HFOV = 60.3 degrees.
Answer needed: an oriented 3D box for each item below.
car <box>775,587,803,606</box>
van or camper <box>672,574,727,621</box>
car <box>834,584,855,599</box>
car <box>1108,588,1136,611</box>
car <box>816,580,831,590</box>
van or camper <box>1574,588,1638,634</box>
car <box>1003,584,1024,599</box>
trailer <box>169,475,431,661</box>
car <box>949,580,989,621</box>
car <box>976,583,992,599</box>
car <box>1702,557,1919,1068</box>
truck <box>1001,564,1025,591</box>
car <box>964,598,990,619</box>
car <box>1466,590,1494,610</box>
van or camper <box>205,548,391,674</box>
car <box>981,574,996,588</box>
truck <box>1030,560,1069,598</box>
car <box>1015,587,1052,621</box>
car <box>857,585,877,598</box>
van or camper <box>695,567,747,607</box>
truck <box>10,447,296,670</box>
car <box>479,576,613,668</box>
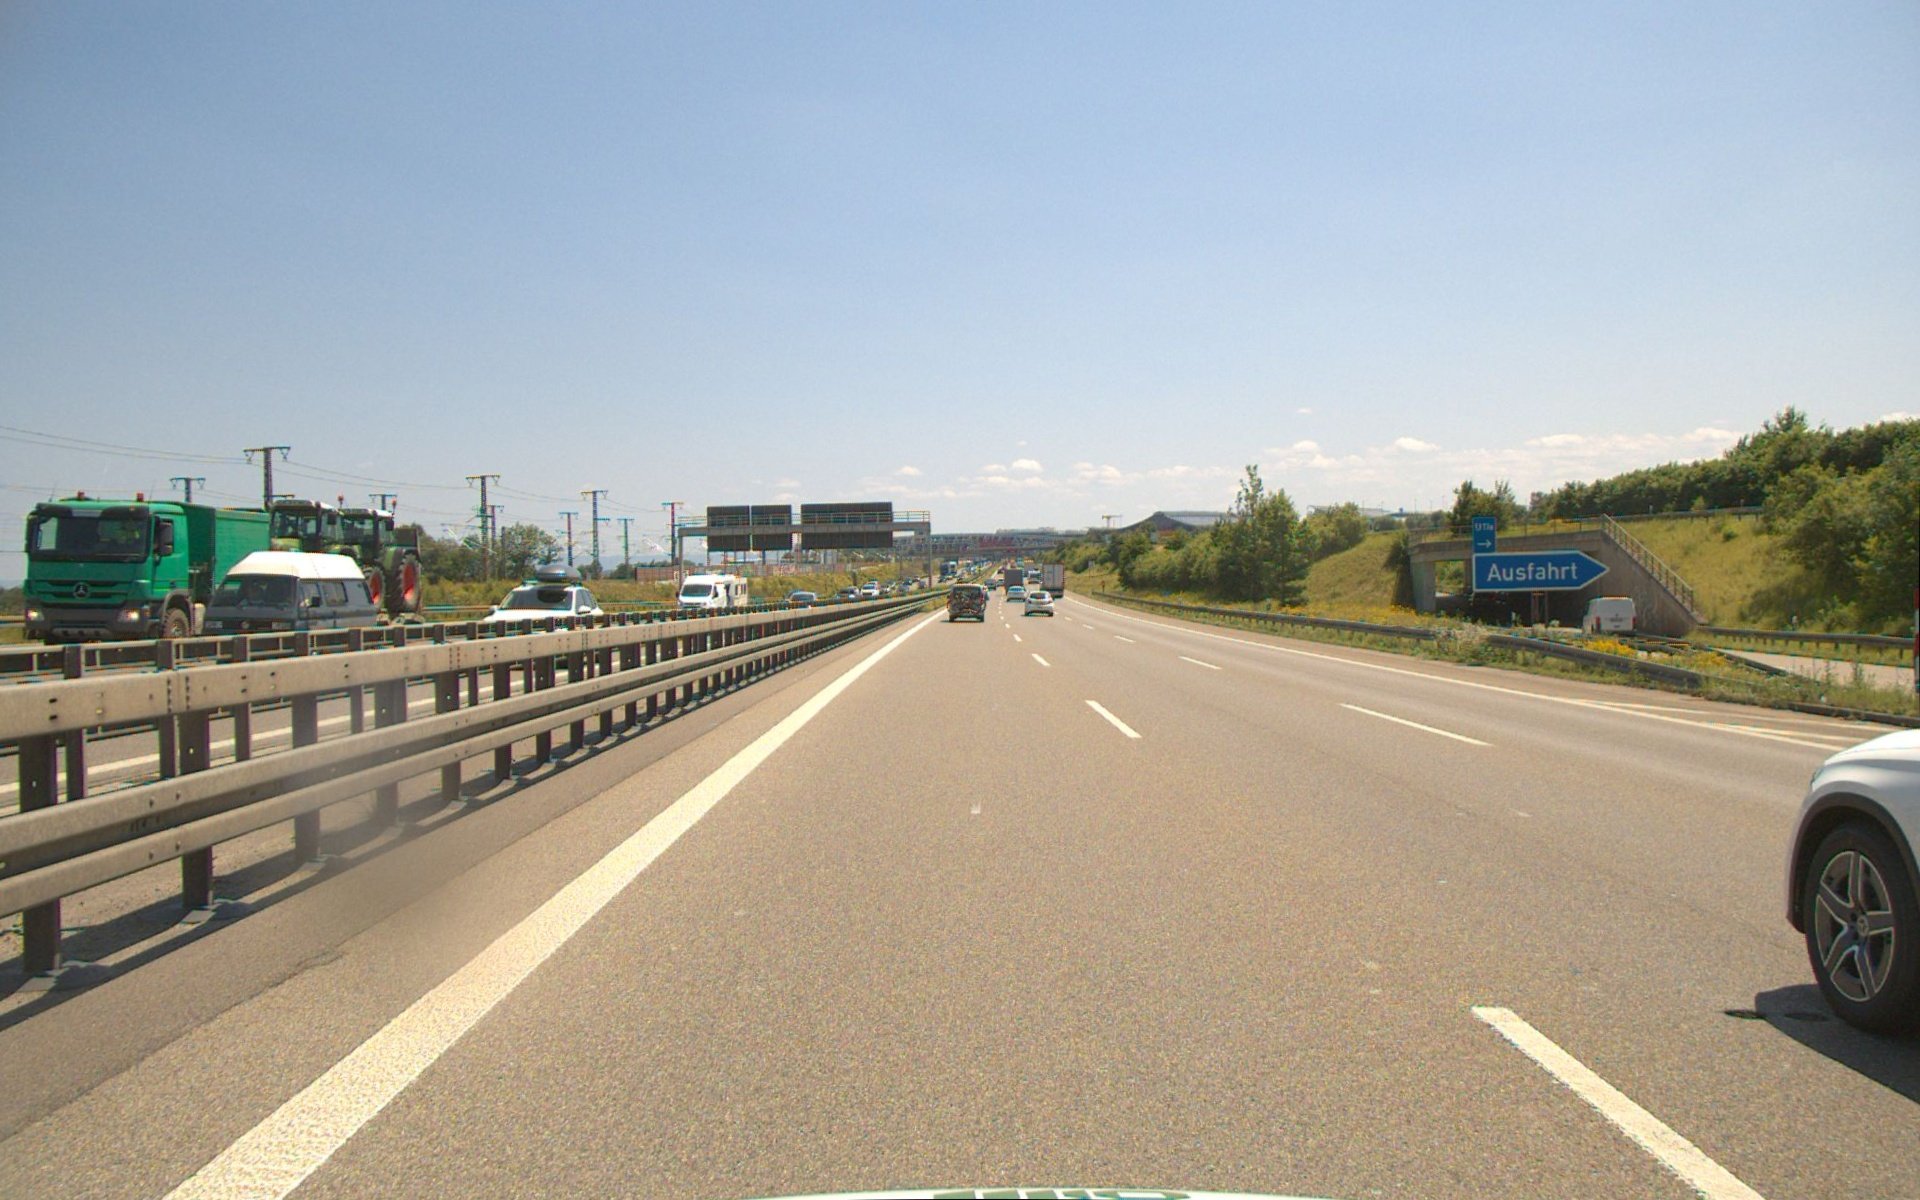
[{"bbox_3d":[-12.833,-0.278,124.307,1.658,1.370,4.000,0,0,0],"label":"car"},{"bbox_3d":[-13.495,-0.157,85.944,1.953,2.340,5.893,0,0,0],"label":"van or camper"},{"bbox_3d":[-10.979,-0.837,157.441,1.729,1.370,4.000,0,0,0],"label":"car"},{"bbox_3d":[14.574,-0.042,149.175,1.888,1.952,4.515,0,-1,-2],"label":"car"},{"bbox_3d":[-19.952,-2.167,242.358,1.907,1.370,4.000,0,0,0],"label":"car"},{"bbox_3d":[30.147,0.525,77.270,2.110,2.049,4.307,0,-1,12],"label":"van or camper"},{"bbox_3d":[5.265,-0.829,163.405,1.941,1.499,4.000,0,-1,0],"label":"car"},{"bbox_3d":[-17.191,-0.672,44.208,2.703,4.319,11.197,0,-1,-1],"label":"trailer"},{"bbox_3d":[0.408,0.068,81.957,1.887,1.952,4.947,0,-1,0],"label":"car"},{"bbox_3d":[2.535,-0.968,171.900,1.543,1.580,3.965,0,-1,3],"label":"car"},{"bbox_3d":[4.081,0.693,4.547,1.859,1.676,4.998,0,-1,0],"label":"car"},{"bbox_3d":[6.816,-2.883,213.169,2.647,3.163,10.657,0,-1,0],"label":"truck"},{"bbox_3d":[1.369,0.700,135.109,1.888,1.656,4.515,0,-1,-2],"label":"car"},{"bbox_3d":[47.409,0.026,150.841,1.951,1.780,4.003,0,-1,10],"label":"car"},{"bbox_3d":[-12.786,0.192,32.280,1.720,2.260,4.940,0,0,-1],"label":"van or camper"},{"bbox_3d":[4.434,-2.949,258.862,2.142,2.037,4.000,1,3,-2],"label":"car"},{"bbox_3d":[10.590,-2.561,196.483,3.956,4.336,11.758,0,2,0],"label":"truck"},{"bbox_3d":[4.410,0.250,99.661,1.888,1.952,4.515,0,-1,-2],"label":"car"},{"bbox_3d":[-10.046,-0.904,178.533,1.907,1.370,4.000,0,0,0],"label":"car"},{"bbox_3d":[-16.674,-0.877,115.935,2.465,2.712,8.064,0,0,0],"label":"van or camper"},{"bbox_3d":[-17.089,-0.764,35.672,2.703,4.319,6.977,0,-1,0],"label":"truck"},{"bbox_3d":[-8.838,0.452,35.732,1.771,1.829,4.838,0,0,-1],"label":"car"}]
